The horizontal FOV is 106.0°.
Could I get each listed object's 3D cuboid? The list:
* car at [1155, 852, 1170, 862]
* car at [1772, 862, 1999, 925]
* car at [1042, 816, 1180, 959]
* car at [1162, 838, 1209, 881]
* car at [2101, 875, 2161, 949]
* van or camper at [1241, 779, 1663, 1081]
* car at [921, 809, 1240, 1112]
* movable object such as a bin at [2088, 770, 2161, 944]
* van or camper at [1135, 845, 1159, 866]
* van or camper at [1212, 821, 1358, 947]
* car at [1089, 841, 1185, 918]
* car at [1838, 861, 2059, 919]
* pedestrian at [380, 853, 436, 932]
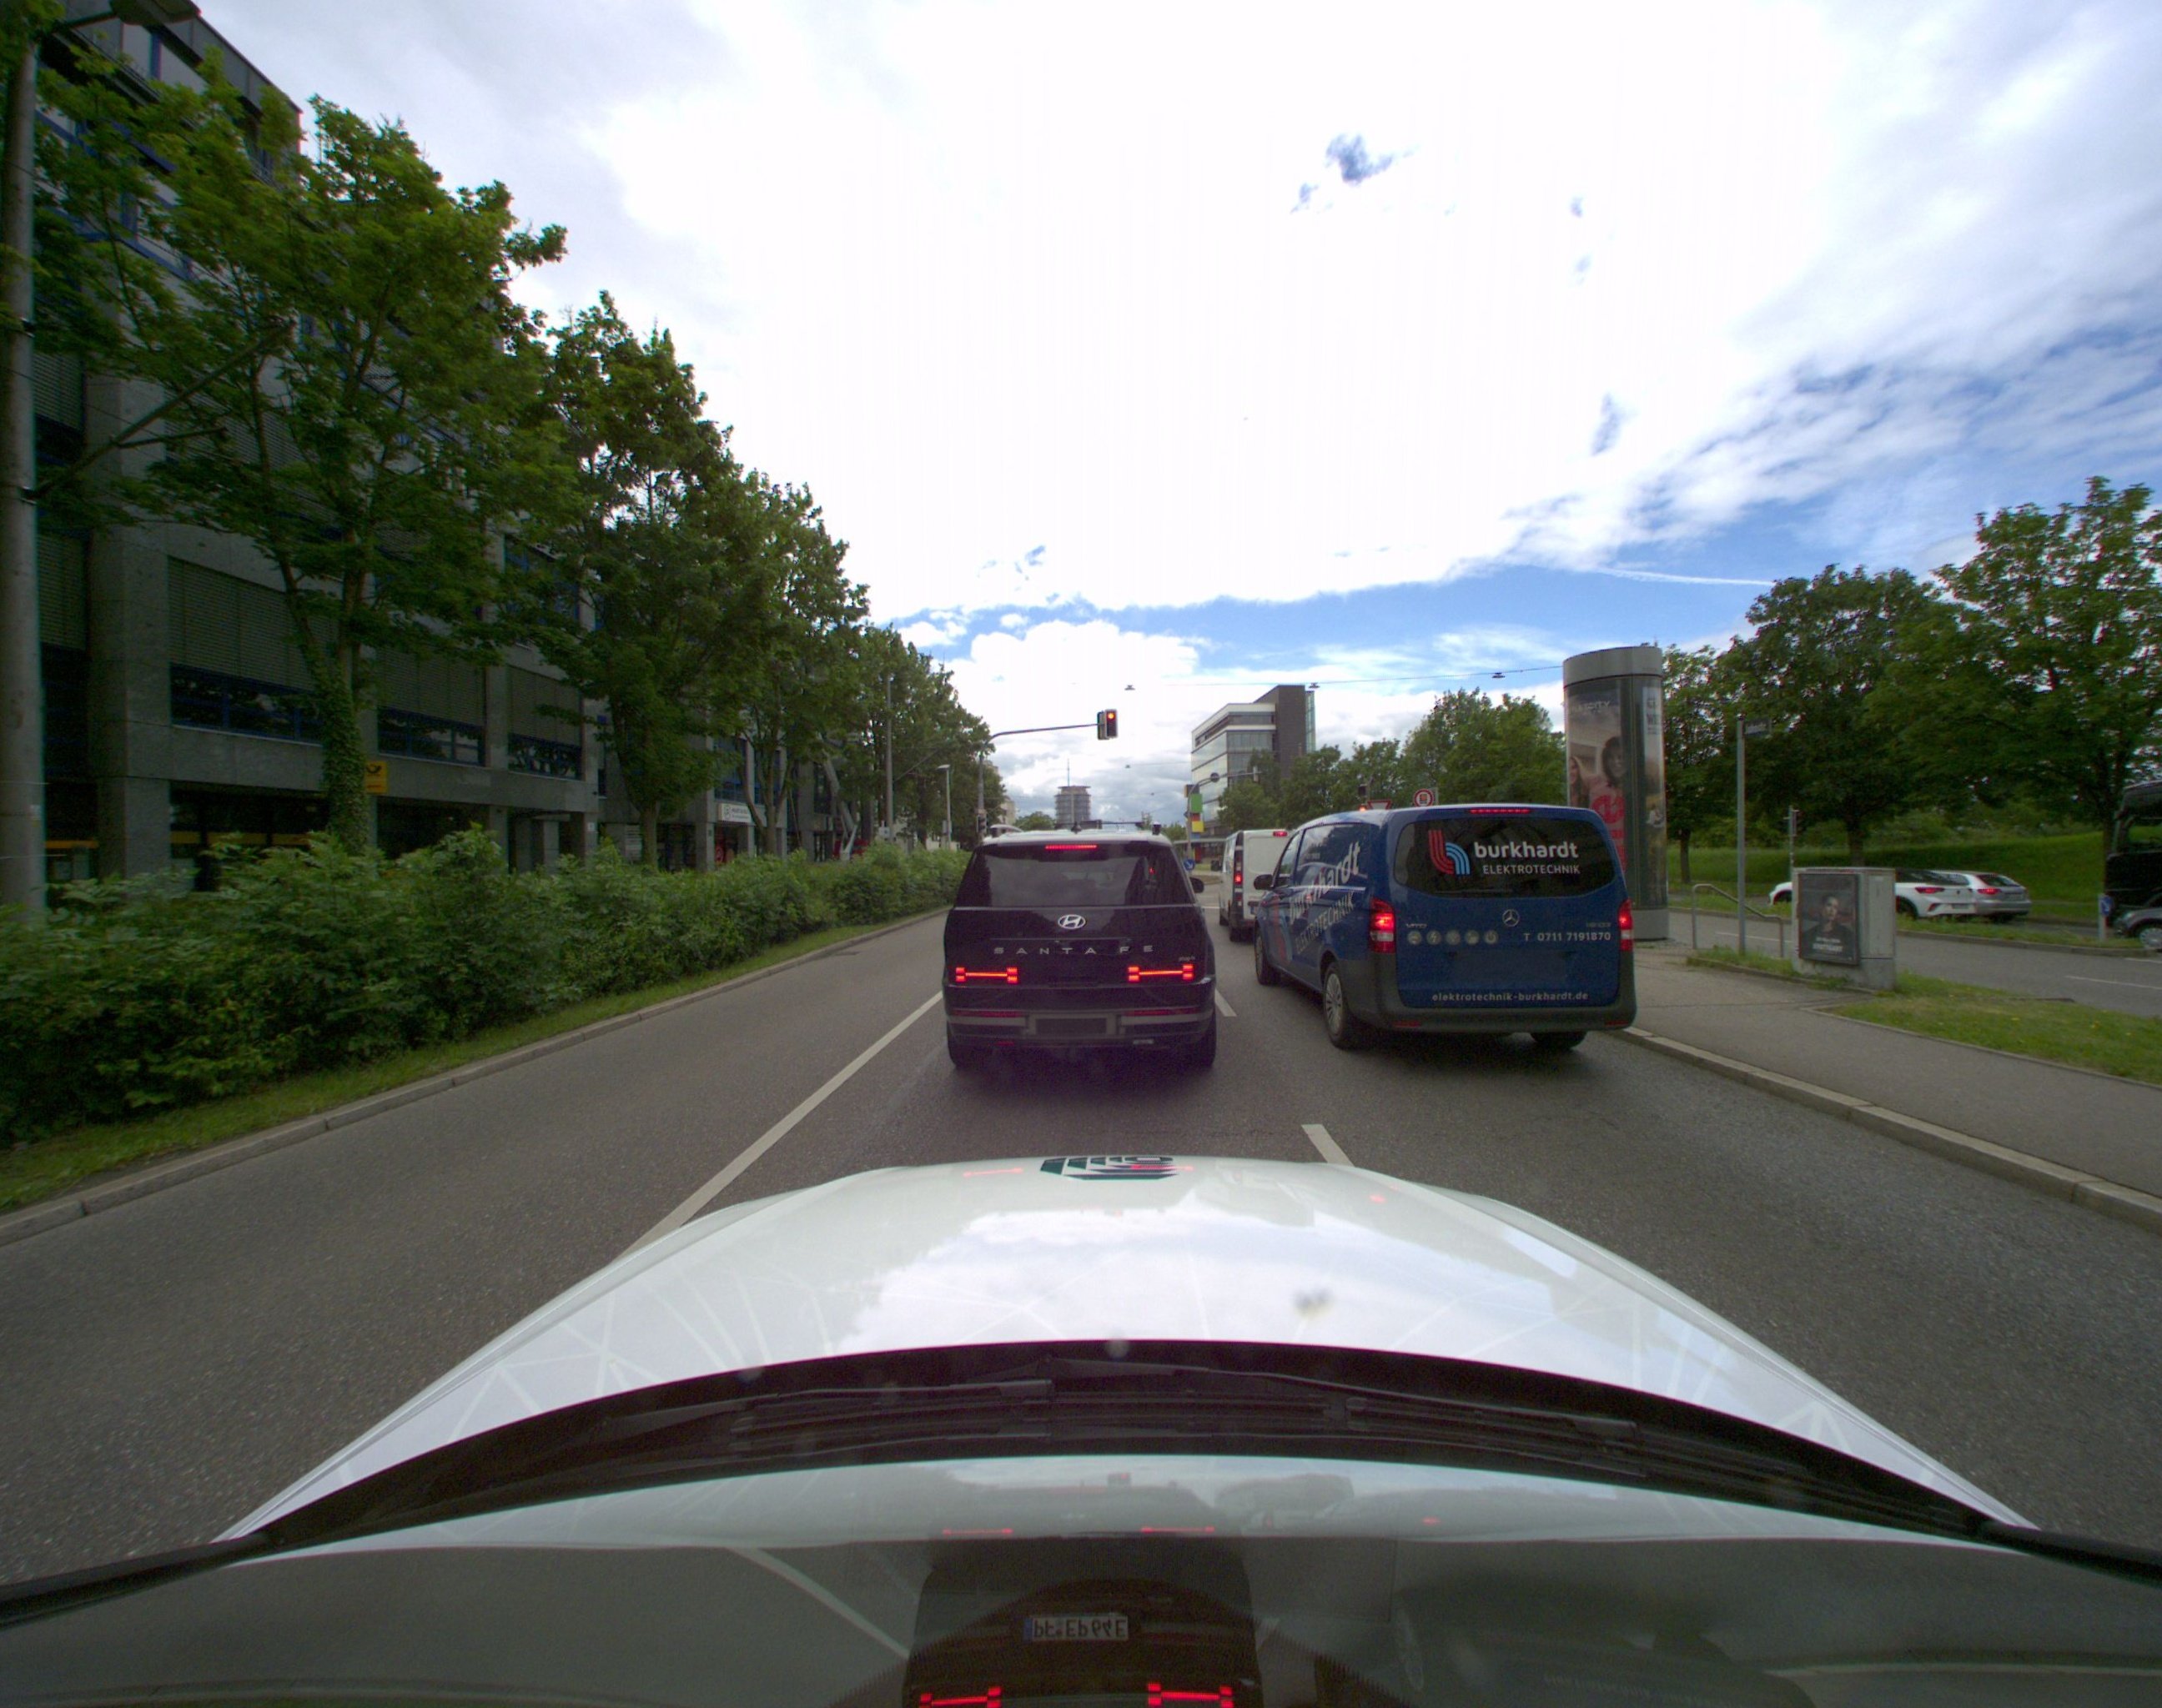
[{"bbox_3d":[13.182,0.510,131.720,1.987,1.684,3.998,-1,-1,-1],"label":"car"},{"bbox_3d":[21.771,1.012,22.283,1.994,1.453,3.985,1,0,-11],"label":"car"},{"bbox_3d":[0.487,0.479,13.562,1.908,2.003,3.881,-1,0,2],"label":"car"},{"bbox_3d":[5.122,0.268,40.327,1.985,2.014,4.003,-1,-1,3],"label":"car"},{"bbox_3d":[23.009,1.214,15.531,1.994,1.453,3.985,1,0,-11],"label":"car"},{"bbox_3d":[2.896,0.496,7.801,1.853,1.911,5.034,-1,0,2],"label":"van or camper"},{"bbox_3d":[0.059,0.638,6.800,1.862,1.760,3.881,-1,0,2],"label":"car"},{"bbox_3d":[26.264,0.004,15.513,2.860,3.903,8.536,-1,-1,-11],"label":"movable object such as a bin"},{"bbox_3d":[8.403,0.213,103.148,1.979,2.547,6.604,-1,-1,14],"label":"van or camper"},{"bbox_3d":[3.662,0.482,15.455,1.984,2.013,4.659,-1,0,5],"label":"van or camper"},{"bbox_3d":[1.538,0.606,20.632,1.764,1.717,4.353,-1,-1,12],"label":"car"},{"bbox_3d":[25.104,0.991,23.781,1.994,1.453,3.985,1,0,-11],"label":"car"},{"bbox_3d":[-16.489,0.922,19.969,0.771,1.894,0.731,-1,-1,1],"label":"pedestrian"}]
